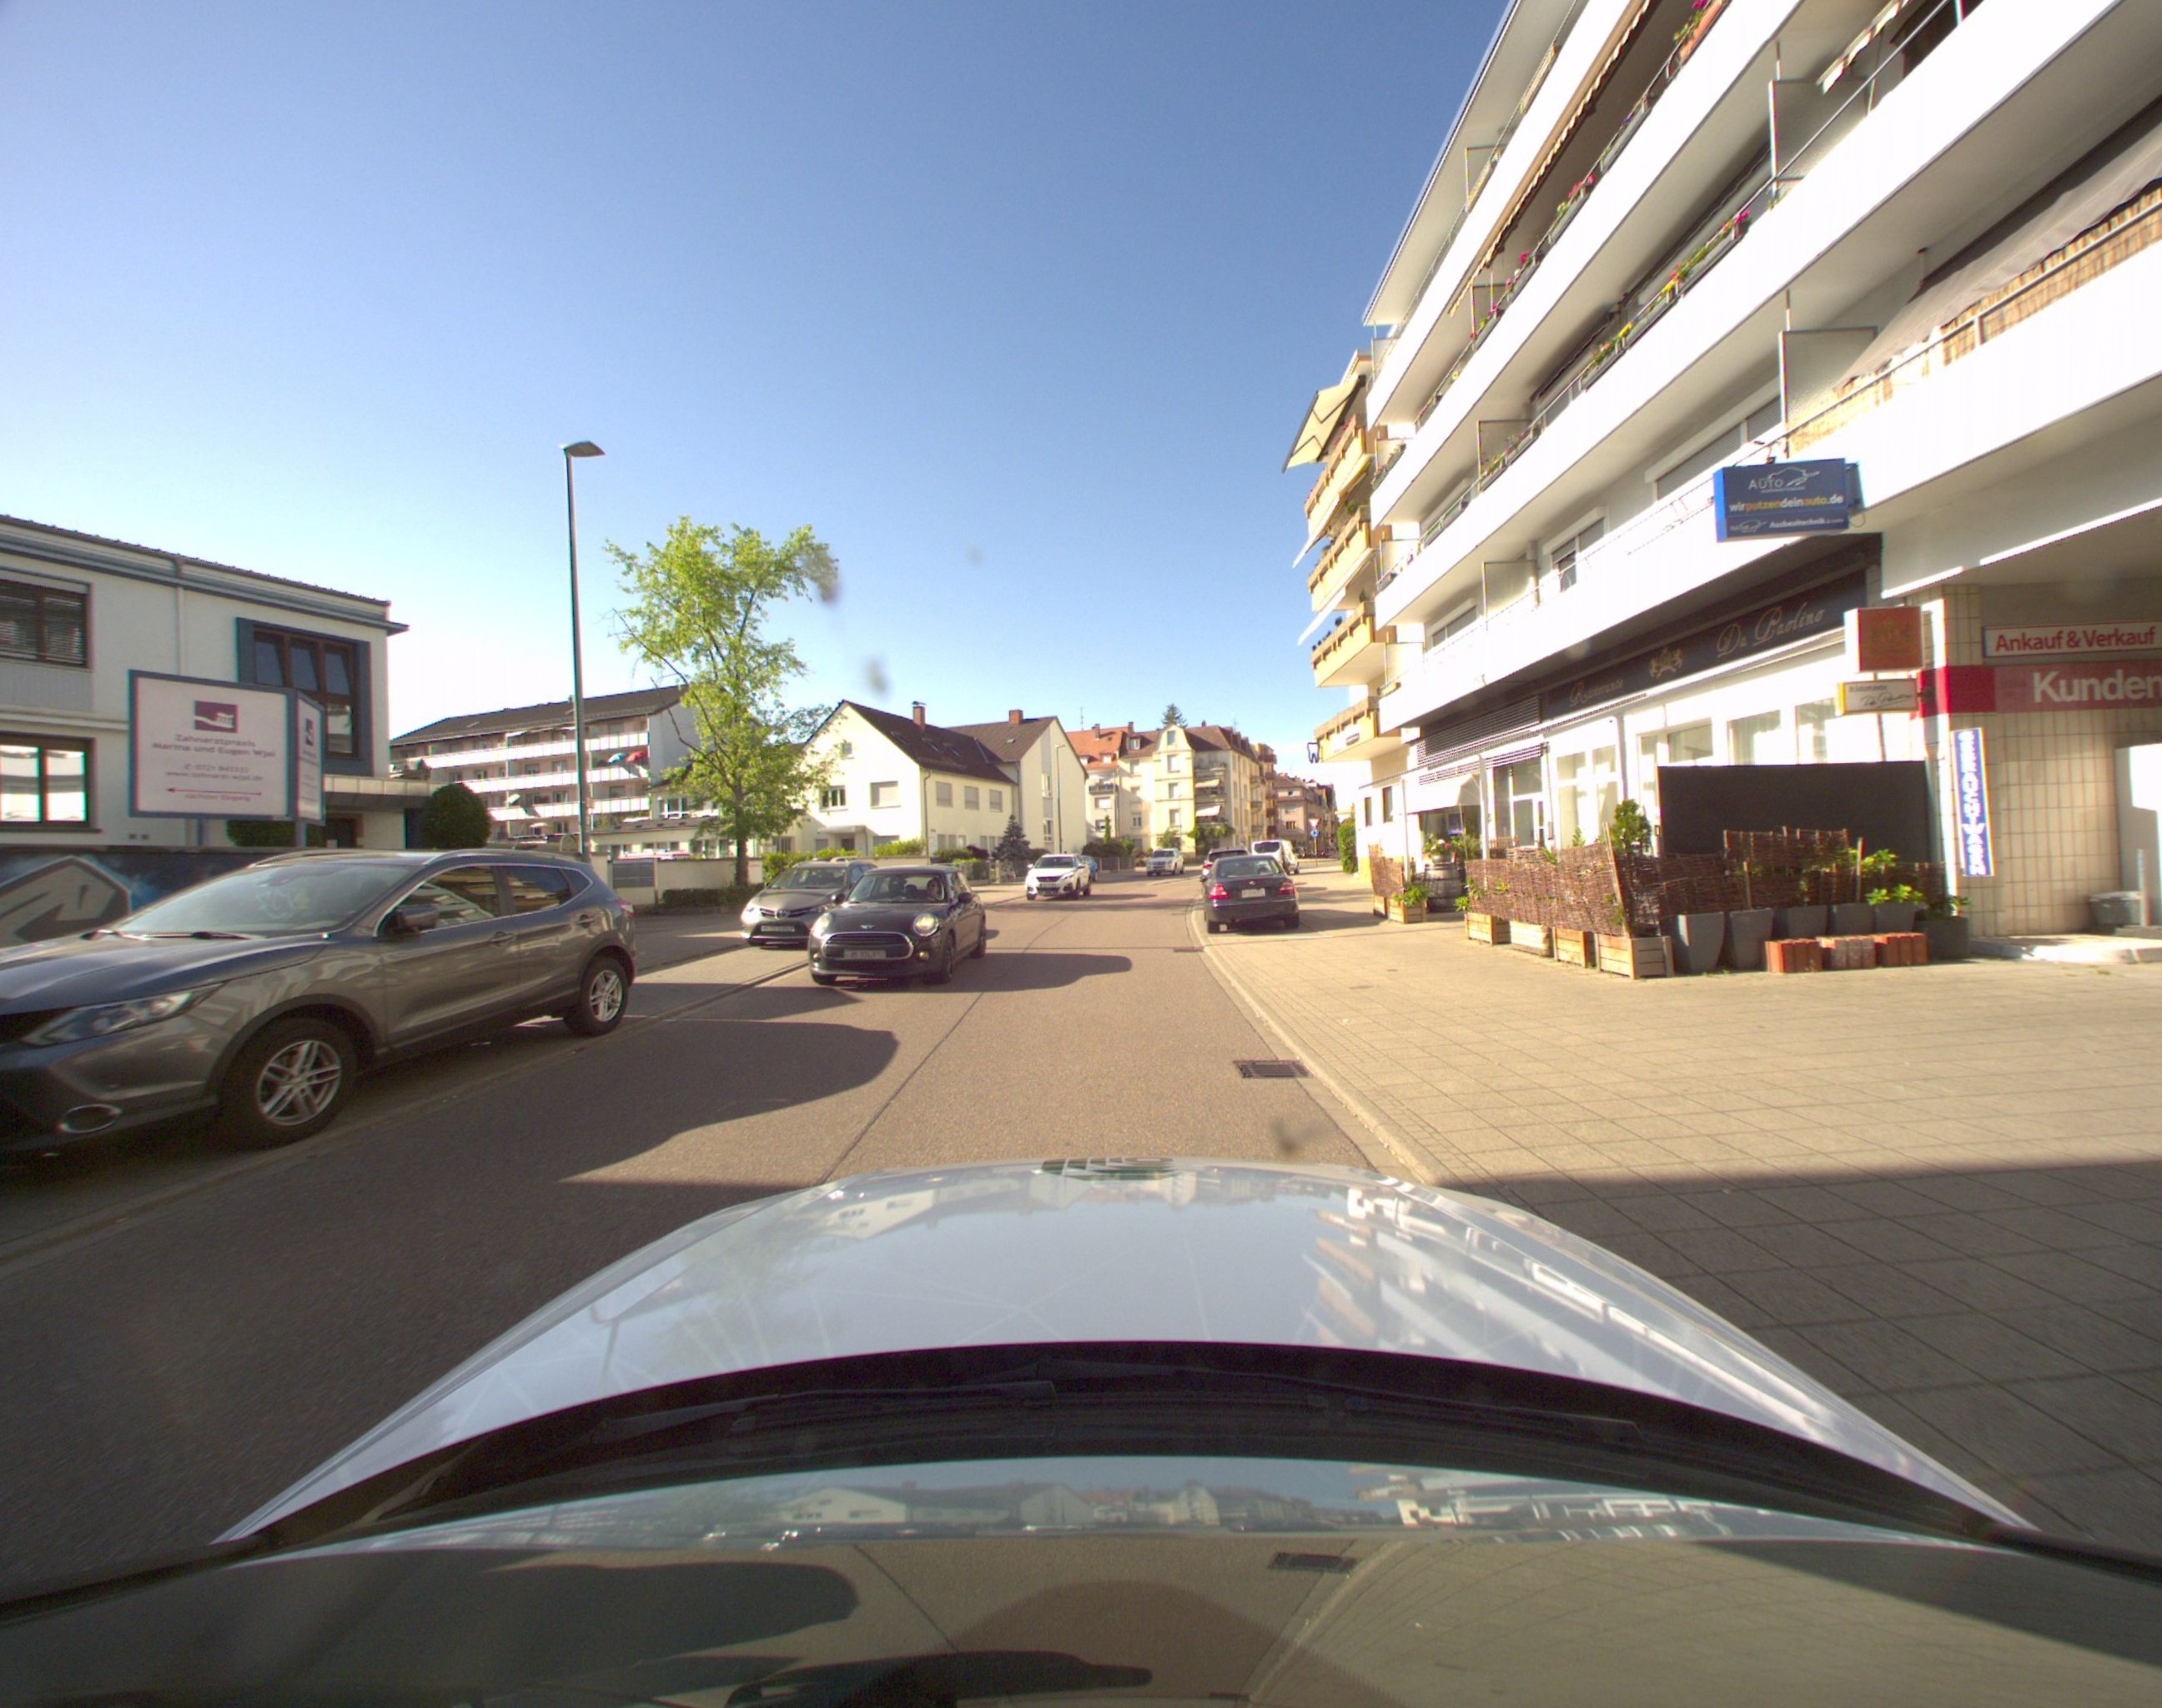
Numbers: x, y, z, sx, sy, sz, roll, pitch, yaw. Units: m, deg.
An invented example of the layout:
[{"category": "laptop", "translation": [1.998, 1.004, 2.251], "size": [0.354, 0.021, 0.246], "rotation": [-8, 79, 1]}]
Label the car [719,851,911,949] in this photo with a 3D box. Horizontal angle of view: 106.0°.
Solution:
[{"category": "car", "translation": [-4.836, 0.739, 15.697], "size": [1.987, 1.534, 4.918], "rotation": [-2, 0, 1]}]

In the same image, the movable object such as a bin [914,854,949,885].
[{"category": "movable object such as a bin", "translation": [-7.592, 0.807, 41.392], "size": [1.272, 1.490, 1.232], "rotation": [-3, -3, 17]}]

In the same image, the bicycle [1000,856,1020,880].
[{"category": "bicycle", "translation": [-3.926, 0.791, 45.176], "size": [0.453, 1.250, 1.935], "rotation": [-2, -3, 13]}]

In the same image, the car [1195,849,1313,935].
[{"category": "car", "translation": [3.399, 0.697, 16.657], "size": [1.959, 1.450, 5.015], "rotation": [-2, -1, 9]}]

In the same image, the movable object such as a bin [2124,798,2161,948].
[{"category": "movable object such as a bin", "translation": [11.594, 0.154, 7.809], "size": [1.457, 1.500, 1.264], "rotation": [-2, -3, 0]}]

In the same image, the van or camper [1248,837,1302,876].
[{"category": "van or camper", "translation": [10.972, 0.129, 45.919], "size": [2.002, 1.947, 4.730], "rotation": [-4, -1, 24]}]

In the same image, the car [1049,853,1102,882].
[{"category": "car", "translation": [-0.239, 0.718, 44.813], "size": [1.784, 1.473, 4.348], "rotation": [-1, 0, 15]}]

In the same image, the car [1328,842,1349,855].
[{"category": "car", "translation": [37.131, -0.782, 117.334], "size": [2.410, 1.811, 4.749], "rotation": [-2, 0, 23]}]

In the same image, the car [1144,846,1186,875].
[{"category": "car", "translation": [5.618, 0.388, 53.967], "size": [1.974, 1.785, 4.538], "rotation": [-3, 0, 16]}]

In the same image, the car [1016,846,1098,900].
[{"category": "car", "translation": [-0.765, 0.719, 29.335], "size": [1.906, 1.725, 4.350], "rotation": [-2, -3, 12]}]

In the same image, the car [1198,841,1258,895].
[{"category": "car", "translation": [5.119, 0.535, 28.018], "size": [1.805, 1.653, 4.573], "rotation": [-2, -3, 11]}]

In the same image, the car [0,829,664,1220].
[{"category": "car", "translation": [-4.940, 0.718, 5.551], "size": [1.713, 1.586, 4.424], "rotation": [-2, 0, 2]}]

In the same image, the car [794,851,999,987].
[{"category": "car", "translation": [-2.305, 0.832, 11.167], "size": [1.733, 1.513, 3.732], "rotation": [-2, -3, 3]}]

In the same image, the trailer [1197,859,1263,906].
[{"category": "trailer", "translation": [4.180, 0.756, 22.604], "size": [1.591, 1.178, 2.953], "rotation": [-2, -1, 14]}]

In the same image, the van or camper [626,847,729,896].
[{"category": "van or camper", "translation": [-22.426, 0.970, 45.255], "size": [5.172, 2.398, 2.161], "rotation": [-4, -2, 22]}]

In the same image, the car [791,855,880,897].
[{"category": "car", "translation": [-9.987, 0.917, 33.305], "size": [1.783, 1.556, 3.206], "rotation": [-3, -3, 25]}]
